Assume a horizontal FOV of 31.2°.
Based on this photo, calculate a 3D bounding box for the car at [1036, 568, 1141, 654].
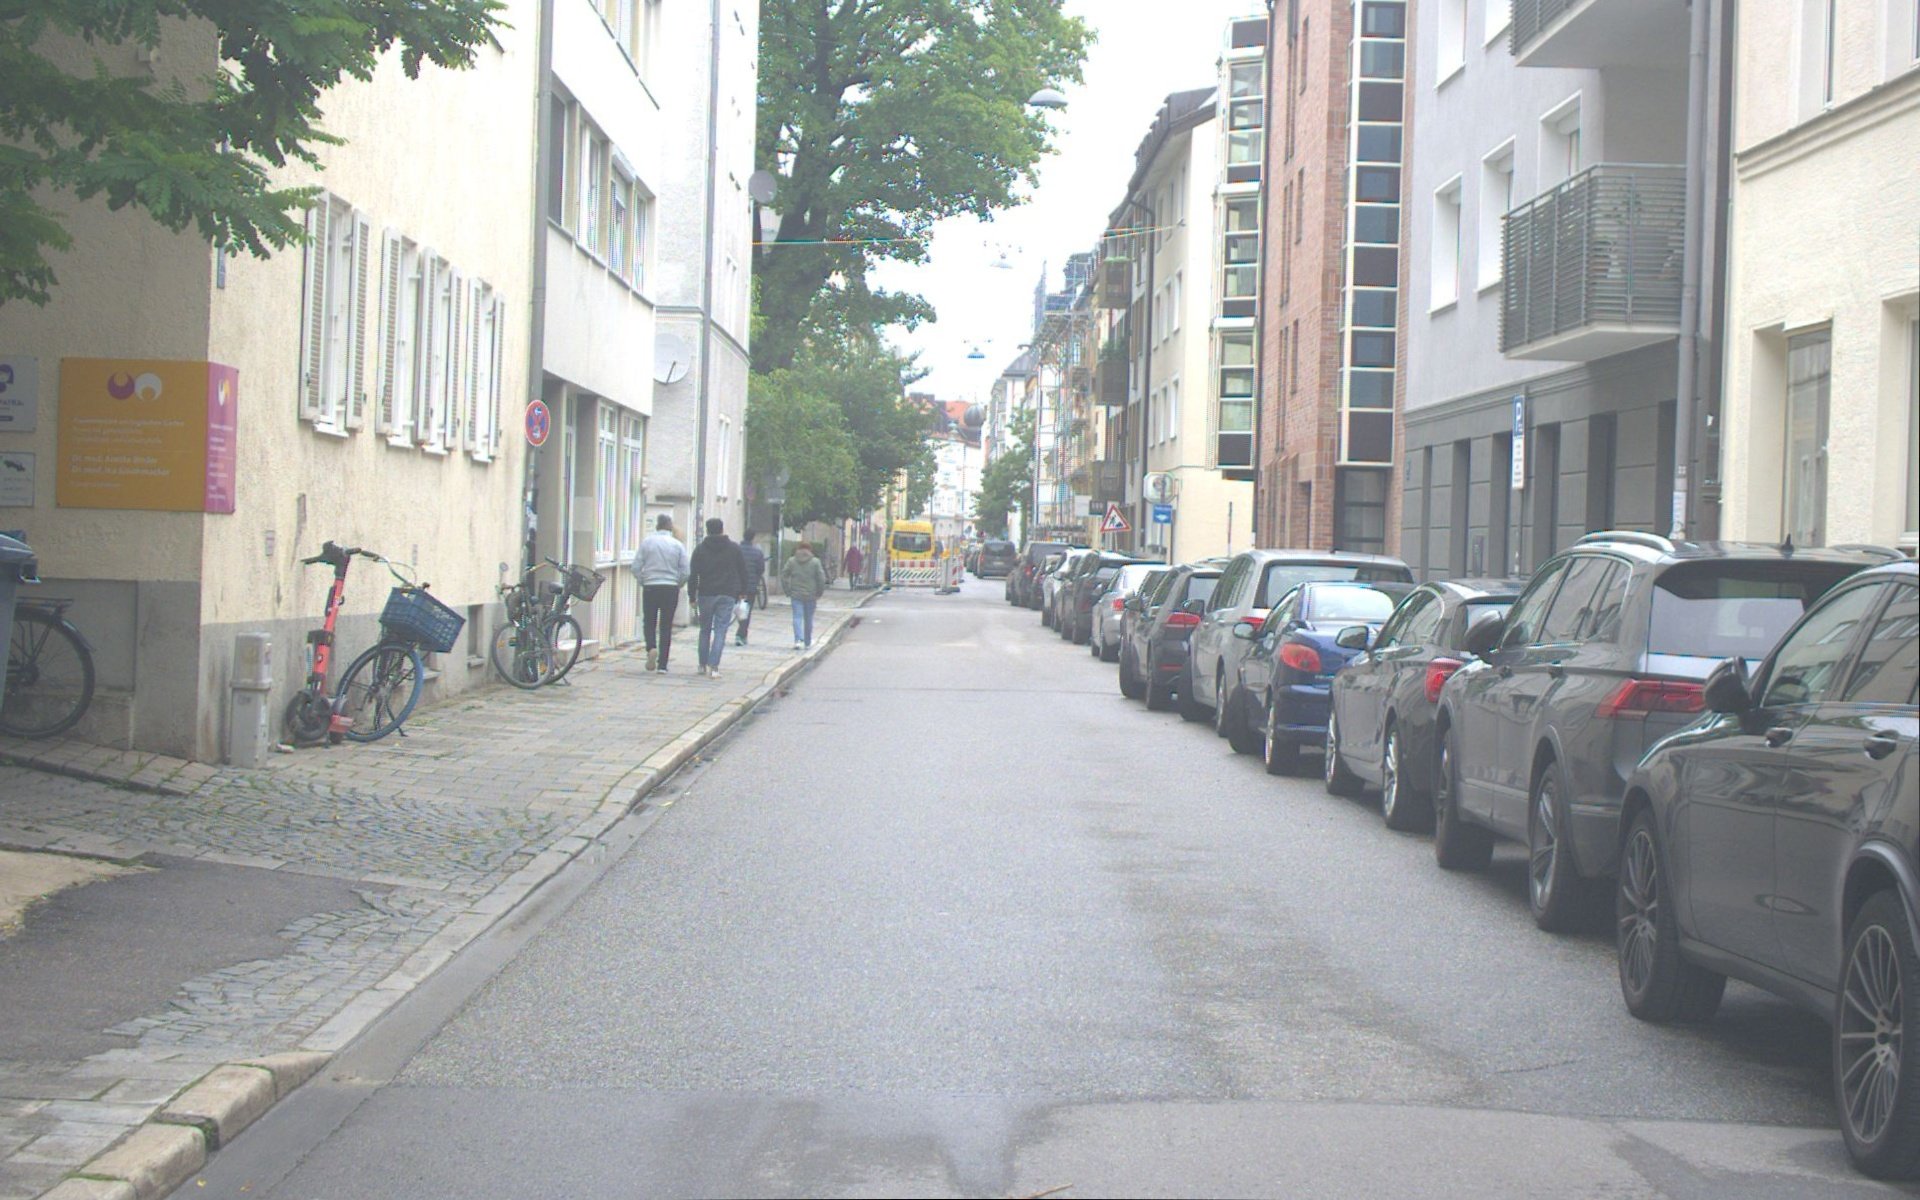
[{"bbox_3d":[2.604,0.197,70.526,1.748,1.624,4.197,1,1,-3],"label":"car"}]

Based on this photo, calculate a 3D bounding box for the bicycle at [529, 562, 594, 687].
[{"bbox_3d":[-3.831,0.225,33.116,0.561,1.155,1.721,2,0,-6],"label":"bicycle"}]

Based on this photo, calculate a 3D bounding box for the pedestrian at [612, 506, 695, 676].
[{"bbox_3d":[-3.328,-0.099,37.404,0.718,1.790,0.917,4,0,0],"label":"pedestrian"}]

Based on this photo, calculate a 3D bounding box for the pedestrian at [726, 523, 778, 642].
[{"bbox_3d":[-3.076,-0.265,50.853,0.612,1.707,0.823,4,0,-1],"label":"pedestrian"}]

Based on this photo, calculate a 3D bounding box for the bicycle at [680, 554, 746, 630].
[{"bbox_3d":[-4.041,-0.132,56.080,0.641,1.213,1.665,1,0,-19],"label":"bicycle"}]

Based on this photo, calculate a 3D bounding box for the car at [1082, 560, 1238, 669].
[{"bbox_3d":[2.855,0.176,49.995,1.836,1.412,4.601,2,1,-1],"label":"car"}]

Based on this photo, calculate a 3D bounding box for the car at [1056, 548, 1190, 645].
[{"bbox_3d":[2.789,-0.095,59.841,1.885,1.550,4.392,2,1,-2],"label":"car"}]

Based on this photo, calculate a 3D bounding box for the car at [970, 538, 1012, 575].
[{"bbox_3d":[1.542,-2.200,174.025,1.801,1.706,3.827,5,1,-2],"label":"car"}]

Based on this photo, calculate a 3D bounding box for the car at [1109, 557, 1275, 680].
[{"bbox_3d":[3.015,0.205,45.395,1.745,1.457,4.150,2,1,-1],"label":"car"}]

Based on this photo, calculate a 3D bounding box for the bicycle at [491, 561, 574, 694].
[{"bbox_3d":[-3.896,0.236,31.400,0.458,1.155,1.605,4,0,1],"label":"bicycle"}]

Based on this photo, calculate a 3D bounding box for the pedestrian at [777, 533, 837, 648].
[{"bbox_3d":[-2.269,-0.140,51.129,0.753,1.653,0.906,4,0,0],"label":"pedestrian"}]

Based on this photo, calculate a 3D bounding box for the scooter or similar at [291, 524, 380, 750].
[{"bbox_3d":[-3.902,0.220,21.524,0.317,1.371,1.239,1,0,-1],"label":"scooter or similar"}]

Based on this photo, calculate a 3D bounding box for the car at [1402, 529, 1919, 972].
[{"bbox_3d":[3.173,0.547,15.476,1.676,1.655,4.513,2,1,-1],"label":"car"}]

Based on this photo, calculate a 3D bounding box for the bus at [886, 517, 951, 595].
[{"bbox_3d":[-1.684,-1.796,142.245,2.593,3.091,6.306,1,0,0],"label":"bus"}]

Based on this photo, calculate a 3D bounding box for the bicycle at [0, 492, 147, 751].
[{"bbox_3d":[-5.476,0.049,18.061,2.200,1.294,0.514,4,1,-1],"label":"bicycle"}]

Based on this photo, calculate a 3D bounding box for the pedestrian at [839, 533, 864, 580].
[{"bbox_3d":[-3.474,-1.395,109.930,0.756,1.486,0.831,1,0,0],"label":"pedestrian"}]

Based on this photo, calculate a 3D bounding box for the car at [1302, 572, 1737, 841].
[{"bbox_3d":[3.221,0.553,20.636,1.799,1.381,4.349,1,1,-1],"label":"car"}]

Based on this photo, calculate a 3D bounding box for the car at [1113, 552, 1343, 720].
[{"bbox_3d":[2.655,0.316,34.977,1.839,1.523,4.293,2,1,-1],"label":"car"}]

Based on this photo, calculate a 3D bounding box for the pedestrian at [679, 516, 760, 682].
[{"bbox_3d":[-2.630,-0.011,37.633,0.718,1.759,0.838,4,0,0],"label":"pedestrian"}]

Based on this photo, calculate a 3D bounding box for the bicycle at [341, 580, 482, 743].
[{"bbox_3d":[-3.690,0.397,23.258,0.703,0.981,1.823,6,0,-5],"label":"bicycle"}]

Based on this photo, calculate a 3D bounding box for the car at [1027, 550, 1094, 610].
[{"bbox_3d":[2.672,-0.556,91.965,1.624,1.482,3.808,3,1,0],"label":"car"}]

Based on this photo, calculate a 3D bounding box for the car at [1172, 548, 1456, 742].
[{"bbox_3d":[3.012,0.336,30.091,1.875,1.565,4.317,0,1,-2],"label":"car"}]

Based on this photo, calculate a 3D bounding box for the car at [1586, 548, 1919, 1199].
[{"bbox_3d":[3.114,0.687,9.798,1.702,1.601,4.685,2,1,-1],"label":"car"}]

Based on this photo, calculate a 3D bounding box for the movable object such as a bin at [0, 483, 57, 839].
[{"bbox_3d":[-4.454,0.205,13.665,1.174,1.437,1.248,7,2,6],"label":"movable object such as a bin"}]

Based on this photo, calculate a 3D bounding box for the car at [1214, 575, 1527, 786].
[{"bbox_3d":[2.918,0.528,25.173,1.808,1.358,3.945,1,1,0],"label":"car"}]

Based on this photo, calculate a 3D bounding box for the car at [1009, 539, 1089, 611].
[{"bbox_3d":[2.478,-0.721,96.324,1.801,1.814,4.001,5,1,-3],"label":"car"}]
